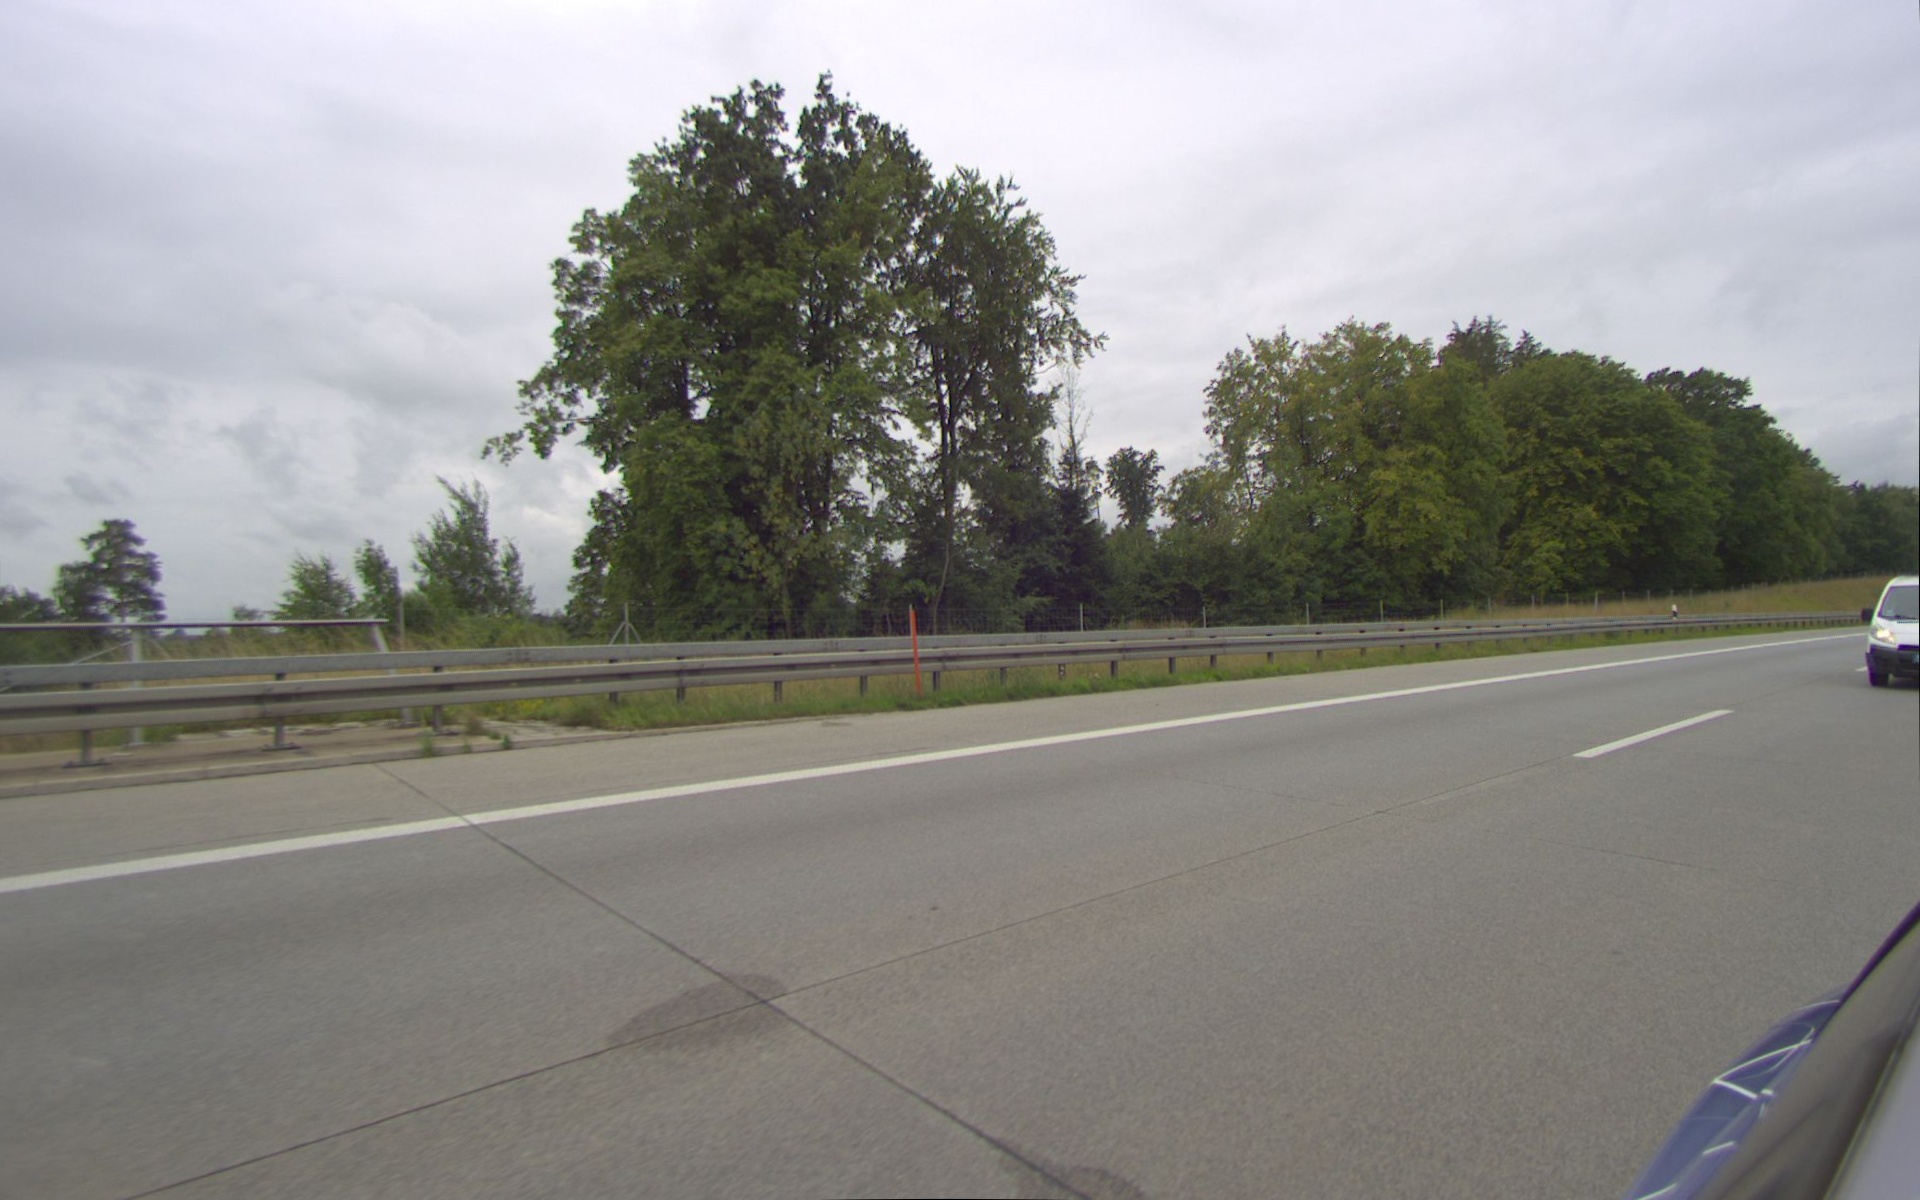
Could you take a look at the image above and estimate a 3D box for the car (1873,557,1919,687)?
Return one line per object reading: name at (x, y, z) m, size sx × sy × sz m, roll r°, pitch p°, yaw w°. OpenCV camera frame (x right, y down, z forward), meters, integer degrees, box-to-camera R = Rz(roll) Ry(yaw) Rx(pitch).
car at (18.438, 0.341, 18.352) m, size 5.961 × 2.151 × 2.041 m, roll -1°, pitch 0°, yaw -40°
